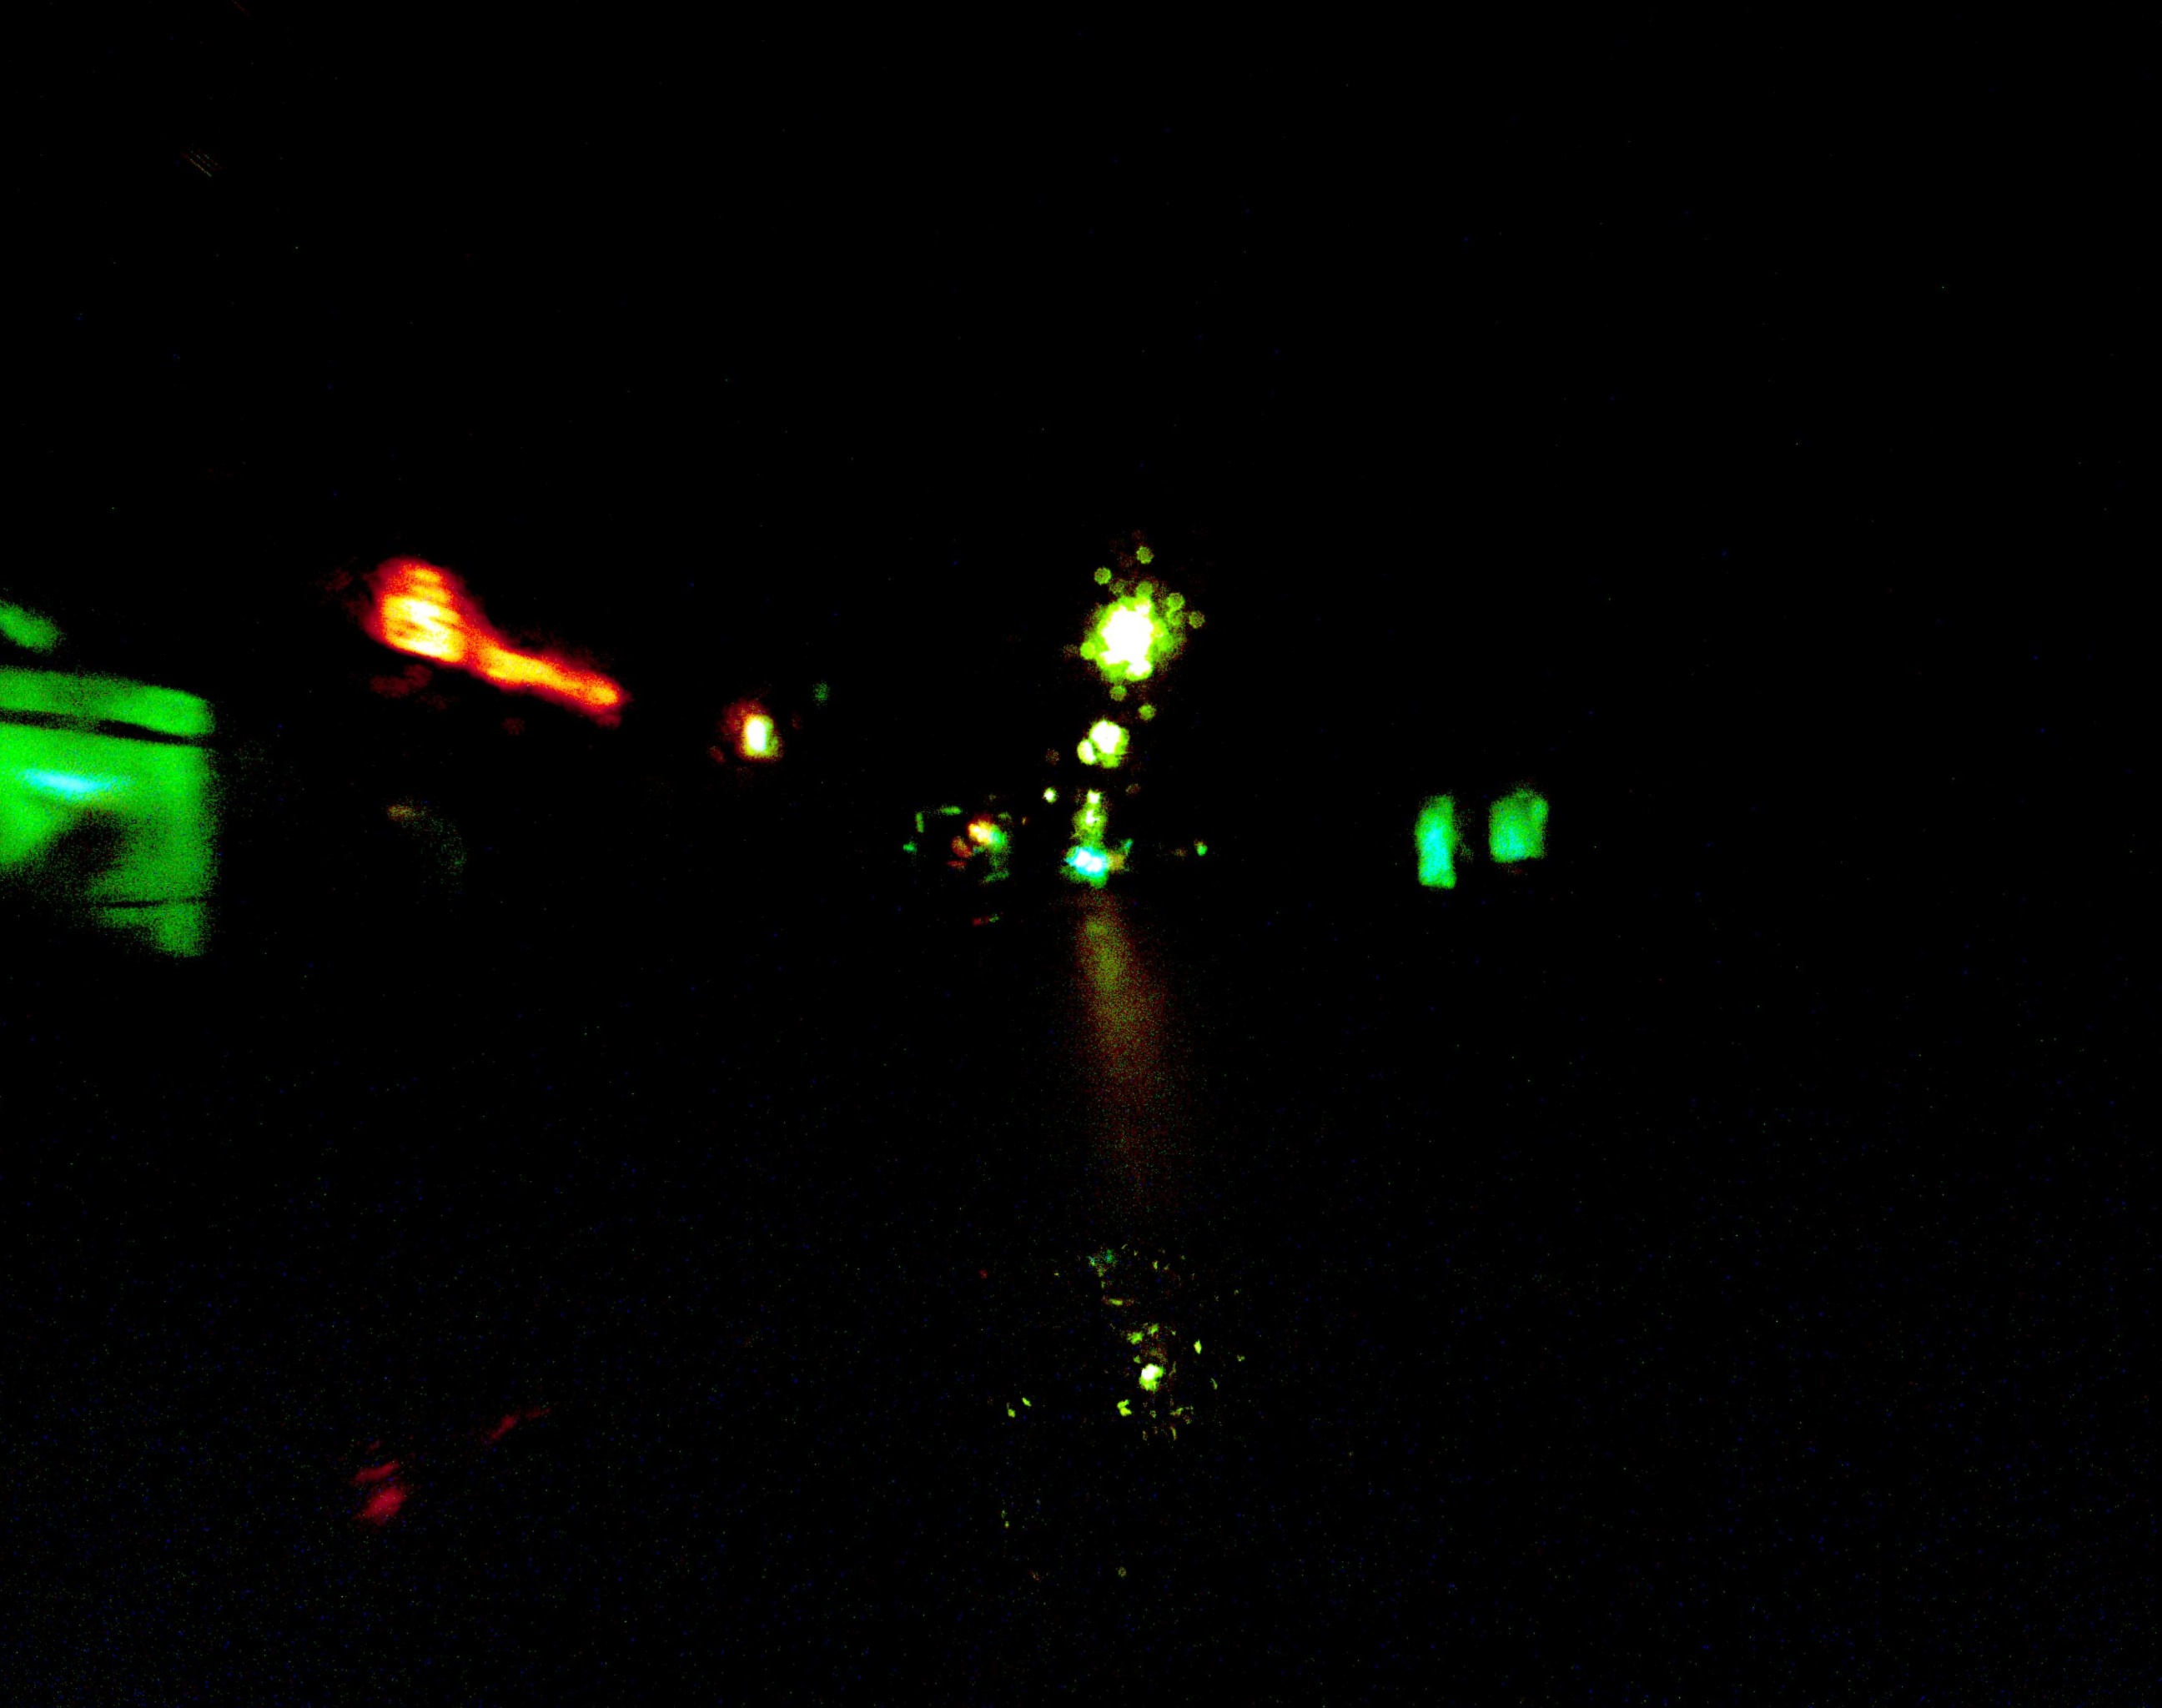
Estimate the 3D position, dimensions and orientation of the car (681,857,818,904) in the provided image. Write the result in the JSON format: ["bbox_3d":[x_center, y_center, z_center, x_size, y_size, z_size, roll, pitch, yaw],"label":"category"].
[{"bbox_3d":[-11.775,0.918,27.177,3.996,1.476,1.895,-2,0,2],"label":"car"}]

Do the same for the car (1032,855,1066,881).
[{"bbox_3d":[-1.918,0.803,46.334,1.846,1.498,4.162,0,0,1],"label":"car"}]

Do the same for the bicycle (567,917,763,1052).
[{"bbox_3d":[-3.627,1.117,6.640,1.531,0.947,0.366,5,2,8],"label":"bicycle"}]

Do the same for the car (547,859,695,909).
[{"bbox_3d":[-16.321,1.045,27.101,3.996,1.499,2.000,-3,1,2],"label":"car"}]

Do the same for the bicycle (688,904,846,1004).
[{"bbox_3d":[-3.478,1.105,8.465,1.533,0.947,0.366,5,2,-3],"label":"bicycle"}]

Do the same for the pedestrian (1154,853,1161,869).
[{"bbox_3d":[9.553,0.857,94.802,0.776,2.002,0.587,-3,1,1],"label":"pedestrian"}]

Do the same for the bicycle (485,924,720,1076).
[{"bbox_3d":[-3.774,1.126,6.004,1.672,0.947,0.366,5,2,8],"label":"bicycle"}]

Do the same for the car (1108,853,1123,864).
[{"bbox_3d":[4.680,0.653,102.792,1.877,1.386,4.075,-1,-1,4],"label":"car"}]

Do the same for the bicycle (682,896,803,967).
[{"bbox_3d":[-4.776,1.089,10.742,1.532,0.829,0.325,5,2,4],"label":"bicycle"}]

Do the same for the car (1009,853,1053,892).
[{"bbox_3d":[-2.228,0.800,34.870,1.676,1.712,3.856,0,0,1],"label":"car"}]

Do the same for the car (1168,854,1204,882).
[{"bbox_3d":[5.717,0.713,41.547,1.531,1.445,3.384,-1,0,1],"label":"car"}]

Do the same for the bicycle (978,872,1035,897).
[{"bbox_3d":[-2.935,1.180,29.703,2.267,0.889,0.619,0,1,30],"label":"bicycle"}]

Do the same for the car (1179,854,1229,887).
[{"bbox_3d":[5.731,0.751,35.903,1.731,1.445,4.273,-1,0,1],"label":"car"}]

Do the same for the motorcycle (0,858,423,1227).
[{"bbox_3d":[-4.841,0.857,3.862,2.178,1.538,0.867,3,1,0],"label":"motorcycle"}]

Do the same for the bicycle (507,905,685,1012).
[{"bbox_3d":[-5.052,1.087,7.954,1.533,0.947,0.366,5,2,-3],"label":"bicycle"}]

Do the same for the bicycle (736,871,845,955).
[{"bbox_3d":[-4.668,0.948,12.242,1.532,1.195,0.366,5,2,-1],"label":"bicycle"}]

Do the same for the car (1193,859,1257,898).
[{"bbox_3d":[5.567,0.905,29.945,1.731,1.384,4.555,-1,0,1],"label":"car"}]

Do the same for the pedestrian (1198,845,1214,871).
[{"bbox_3d":[8.897,0.269,54.097,0.912,1.778,0.629,-3,1,1],"label":"pedestrian"}]

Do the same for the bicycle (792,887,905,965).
[{"bbox_3d":[-3.531,1.092,11.583,1.532,1.018,0.366,5,2,-1],"label":"bicycle"}]

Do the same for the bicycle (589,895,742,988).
[{"bbox_3d":[-4.912,1.033,9.023,1.533,0.947,0.366,5,2,-3],"label":"bicycle"}]

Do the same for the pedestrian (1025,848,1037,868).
[{"bbox_3d":[-4.330,0.355,66.259,1.007,1.698,0.614,0,1,1],"label":"pedestrian"}]

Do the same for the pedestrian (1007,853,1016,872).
[{"bbox_3d":[-7.363,0.904,80.655,0.776,1.890,0.777,-3,1,1],"label":"pedestrian"}]

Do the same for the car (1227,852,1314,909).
[{"bbox_3d":[5.628,0.738,22.972,1.731,1.565,3.720,-1,0,1],"label":"car"}]

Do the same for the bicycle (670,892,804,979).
[{"bbox_3d":[-4.448,1.038,9.836,1.532,0.947,0.366,5,2,4],"label":"bicycle"}]

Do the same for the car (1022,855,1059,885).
[{"bbox_3d":[-2.114,0.830,40.977,1.689,1.498,4.162,0,0,1],"label":"car"}]

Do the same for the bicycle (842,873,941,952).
[{"bbox_3d":[-3.272,1.001,13.161,1.532,1.195,0.366,5,2,3],"label":"bicycle"}]

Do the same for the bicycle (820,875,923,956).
[{"bbox_3d":[-3.502,1.019,12.713,1.532,1.195,0.366,5,2,-1],"label":"bicycle"}]

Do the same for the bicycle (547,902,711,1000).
[{"bbox_3d":[-5.085,1.093,8.590,1.533,0.947,0.366,5,2,-4],"label":"bicycle"}]

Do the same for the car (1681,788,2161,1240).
[{"bbox_3d":[5.338,0.629,2.934,2.001,1.818,5.207,-1,0,1],"label":"car"}]

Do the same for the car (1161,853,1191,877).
[{"bbox_3d":[5.912,0.689,47.728,1.696,1.470,3.385,-1,-1,5],"label":"car"}]

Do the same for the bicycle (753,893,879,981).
[{"bbox_3d":[-3.576,1.109,10.277,1.532,1.018,0.366,5,2,4],"label":"bicycle"}]

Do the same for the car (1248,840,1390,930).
[{"bbox_3d":[5.392,0.629,17.928,1.907,1.818,4.829,-1,0,1],"label":"car"}]

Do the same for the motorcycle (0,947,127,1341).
[{"bbox_3d":[-4.826,0.985,2.528,2.178,1.311,0.867,3,1,0],"label":"motorcycle"}]

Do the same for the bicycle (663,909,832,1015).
[{"bbox_3d":[-3.492,1.135,8.006,1.533,0.947,0.366,5,2,-3],"label":"bicycle"}]

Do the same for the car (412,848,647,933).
[{"bbox_3d":[-12.898,0.821,17.965,4.155,1.760,1.843,-2,0,2],"label":"car"}]

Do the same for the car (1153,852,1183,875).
[{"bbox_3d":[5.881,0.678,51.759,1.697,1.470,3.964,-1,-1,2],"label":"car"}]

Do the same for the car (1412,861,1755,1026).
[{"bbox_3d":[5.407,0.838,8.817,1.573,1.451,3.720,-1,0,1],"label":"car"}]

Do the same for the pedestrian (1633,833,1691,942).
[{"bbox_3d":[9.704,0.559,12.707,0.595,1.778,0.460,1,0,4],"label":"pedestrian"}]
